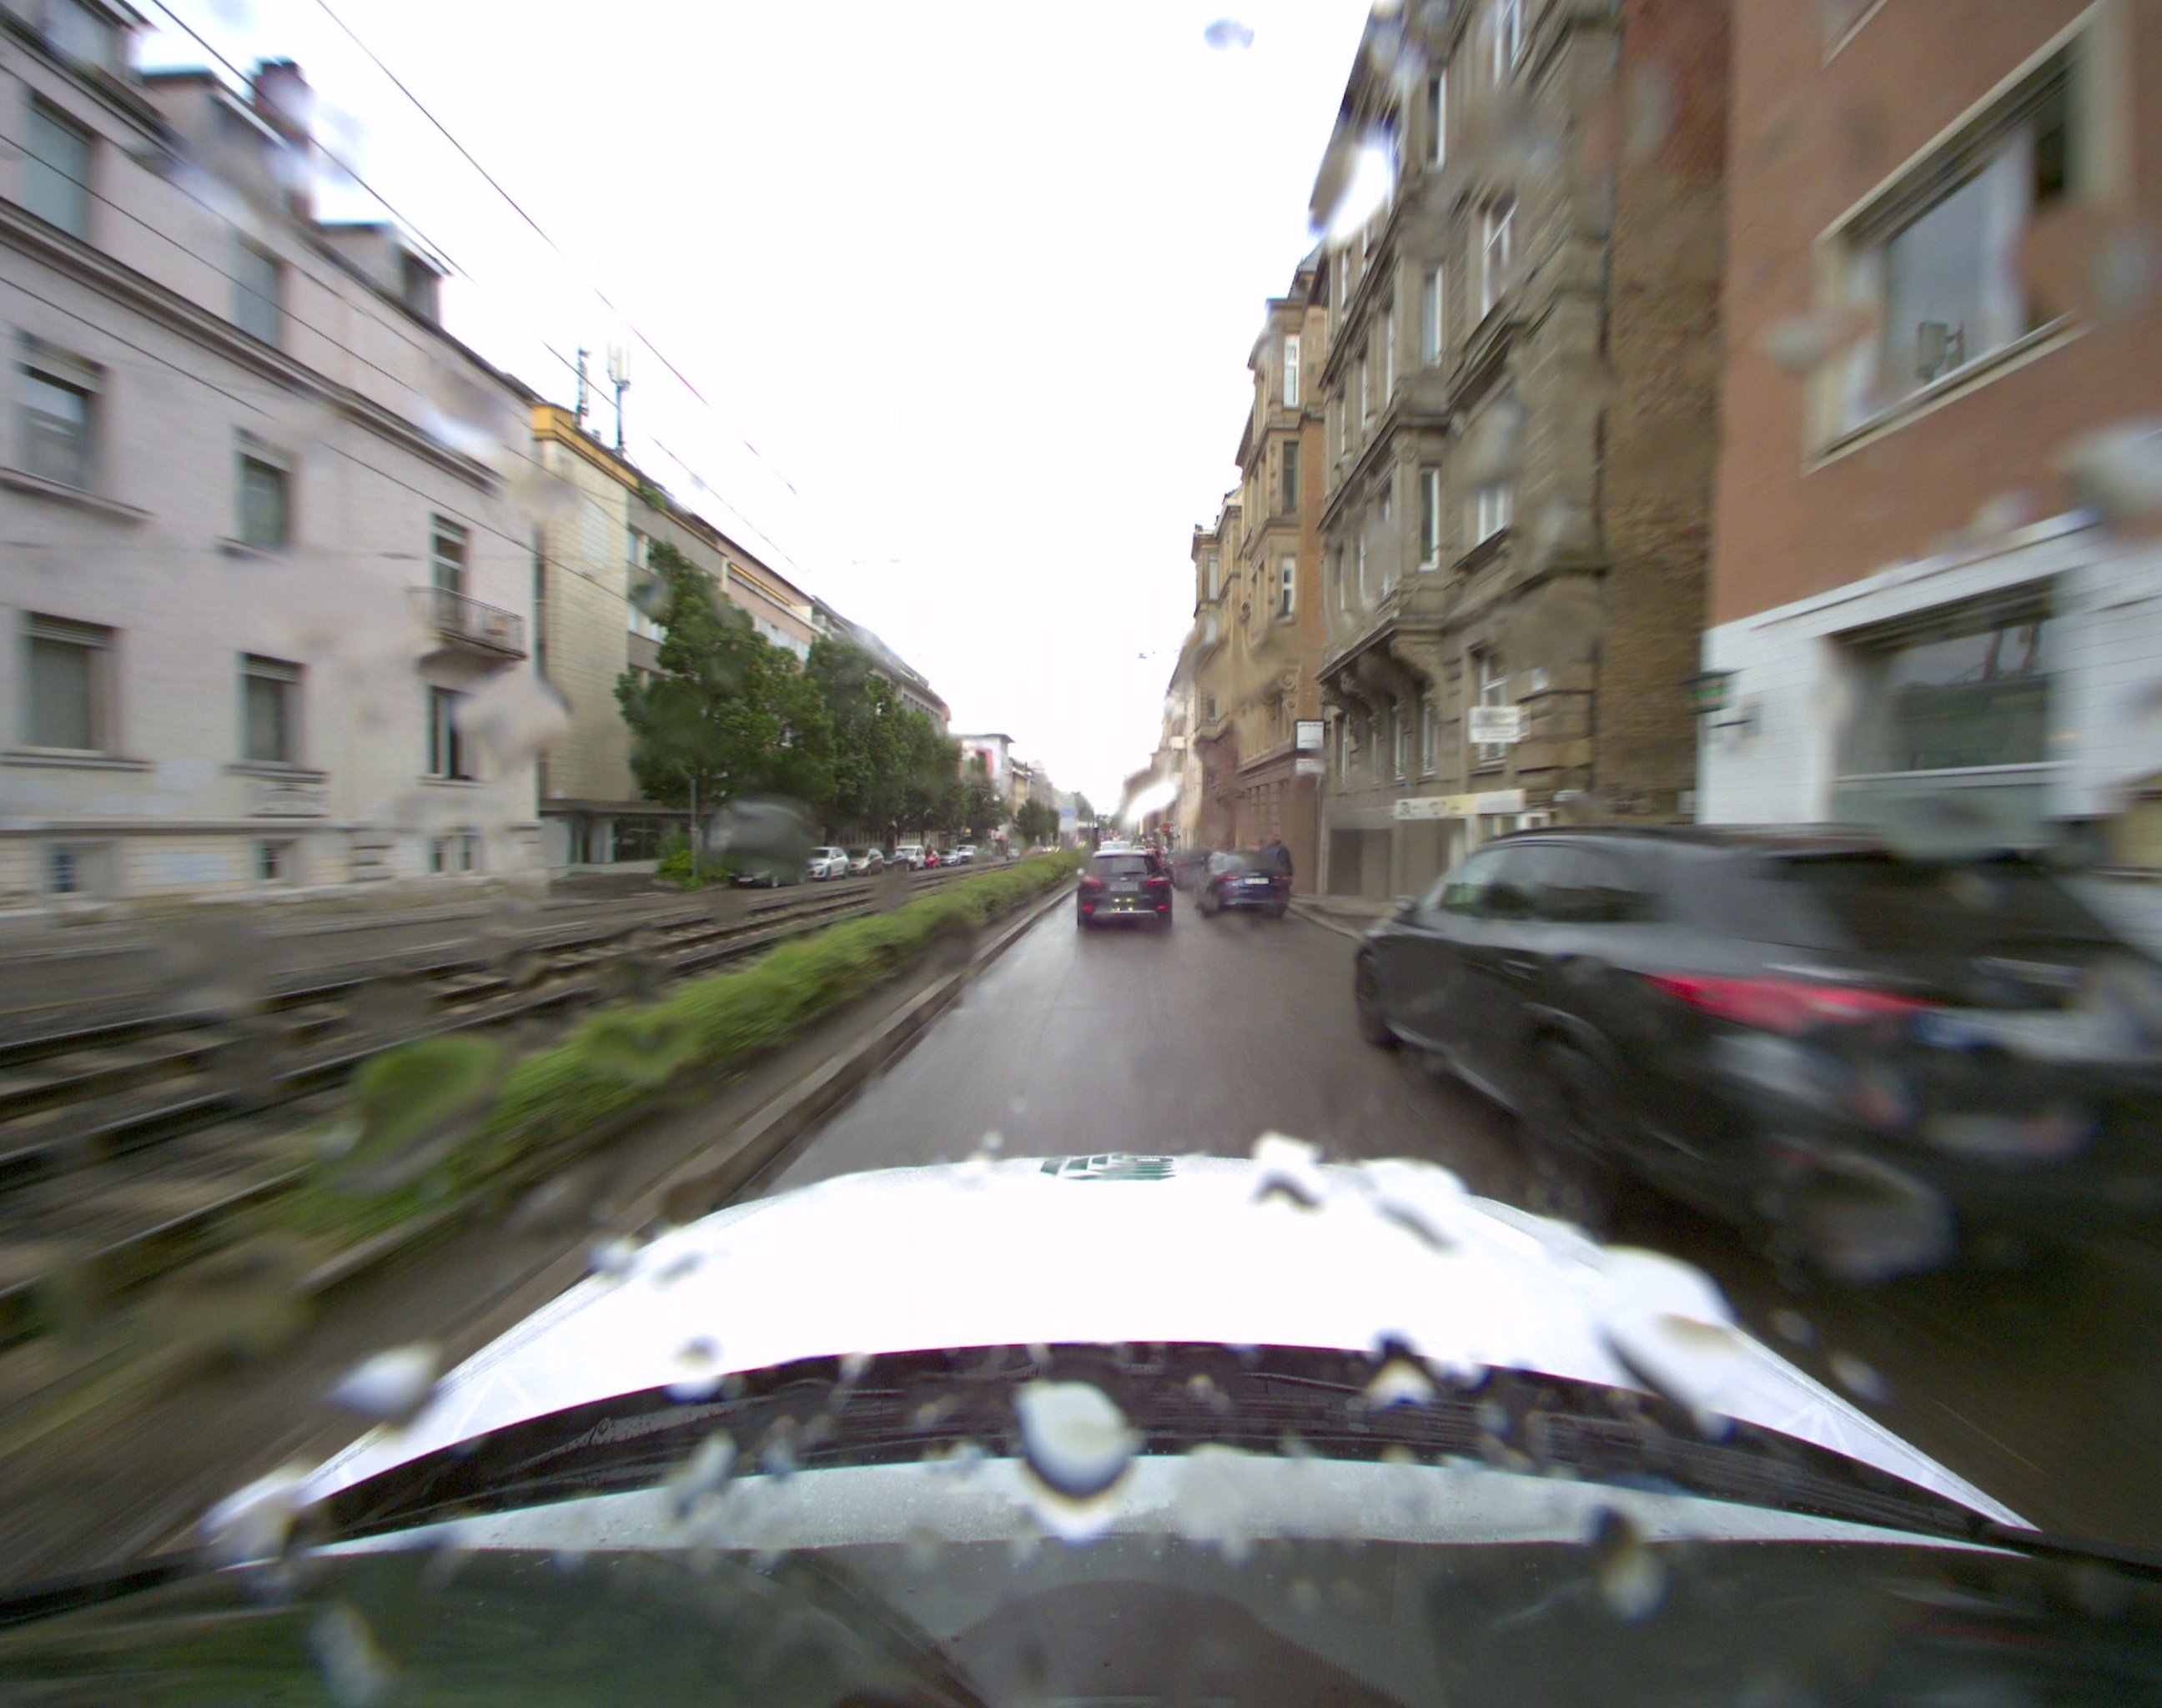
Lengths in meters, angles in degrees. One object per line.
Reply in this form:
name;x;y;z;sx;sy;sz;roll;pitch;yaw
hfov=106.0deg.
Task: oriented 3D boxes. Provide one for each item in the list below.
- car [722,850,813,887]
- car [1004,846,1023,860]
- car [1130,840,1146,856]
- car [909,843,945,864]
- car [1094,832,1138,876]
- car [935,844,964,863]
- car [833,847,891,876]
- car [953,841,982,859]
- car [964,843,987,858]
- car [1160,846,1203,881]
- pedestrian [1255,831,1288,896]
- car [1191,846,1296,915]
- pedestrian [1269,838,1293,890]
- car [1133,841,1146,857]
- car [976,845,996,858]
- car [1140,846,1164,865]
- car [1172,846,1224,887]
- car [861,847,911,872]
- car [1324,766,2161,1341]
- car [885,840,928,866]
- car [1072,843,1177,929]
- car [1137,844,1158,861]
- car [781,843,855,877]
car;-12.832;0.596;33.669;1.687;1.377;4.723;1;-1;3
car;-8.400;-0.117;101.825;1.848;1.637;4.048;1;-1;3
car;6.783;-0.722;97.003;1.831;1.781;3.781;2;-1;3
car;-11.885;-0.004;63.050;1.848;1.527;4.048;1;-1;3
car;1.831;-0.042;41.232;1.979;2.060;4.652;0;1;5
car;-11.263;-0.050;70.123;1.661;1.558;4.048;1;-1;3
car;-12.346;0.437;46.162;1.848;1.548;4.434;1;-1;3
car;-11.046;-0.406;79.477;1.848;1.637;4.938;1;-1;3
car;-11.094;-0.342;86.035;1.688;1.573;4.048;1;-1;3
car;4.459;0.385;36.603;1.571;1.459;3.822;0;0;1
pedestrian;5.479;0.251;23.503;0.700;1.819;0.962;-2;2;2
car;3.616;0.552;18.823;1.784;1.406;4.260;0;0;3
pedestrian;6.225;0.327;25.385;0.517;1.579;0.678;-2;-1;2
car;7.382;-0.633;102.960;1.585;1.781;3.781;2;-1;3
car;-10.732;-0.273;92.072;1.544;1.395;4.048;1;-1;3
car;5.587;0.102;64.378;1.664;1.421;3.478;0;0;2
car;4.394;0.437;31.086;1.643;1.459;3.479;0;0;3
car;-12.125;0.343;50.966;1.848;1.418;4.434;-2;-1;3
car;2.883;0.583;4.625;1.838;1.632;4.589;0;0;3
car;-12.137;-0.059;56.934;1.848;1.701;4.434;1;-1;3
car;0.791;0.561;16.388;1.836;1.507;4.000;-1;0;0
car;5.796;-0.152;70.997;1.664;1.421;3.478;0;0;2
car;-12.735;0.316;39.747;1.848;1.548;4.723;1;-1;3
